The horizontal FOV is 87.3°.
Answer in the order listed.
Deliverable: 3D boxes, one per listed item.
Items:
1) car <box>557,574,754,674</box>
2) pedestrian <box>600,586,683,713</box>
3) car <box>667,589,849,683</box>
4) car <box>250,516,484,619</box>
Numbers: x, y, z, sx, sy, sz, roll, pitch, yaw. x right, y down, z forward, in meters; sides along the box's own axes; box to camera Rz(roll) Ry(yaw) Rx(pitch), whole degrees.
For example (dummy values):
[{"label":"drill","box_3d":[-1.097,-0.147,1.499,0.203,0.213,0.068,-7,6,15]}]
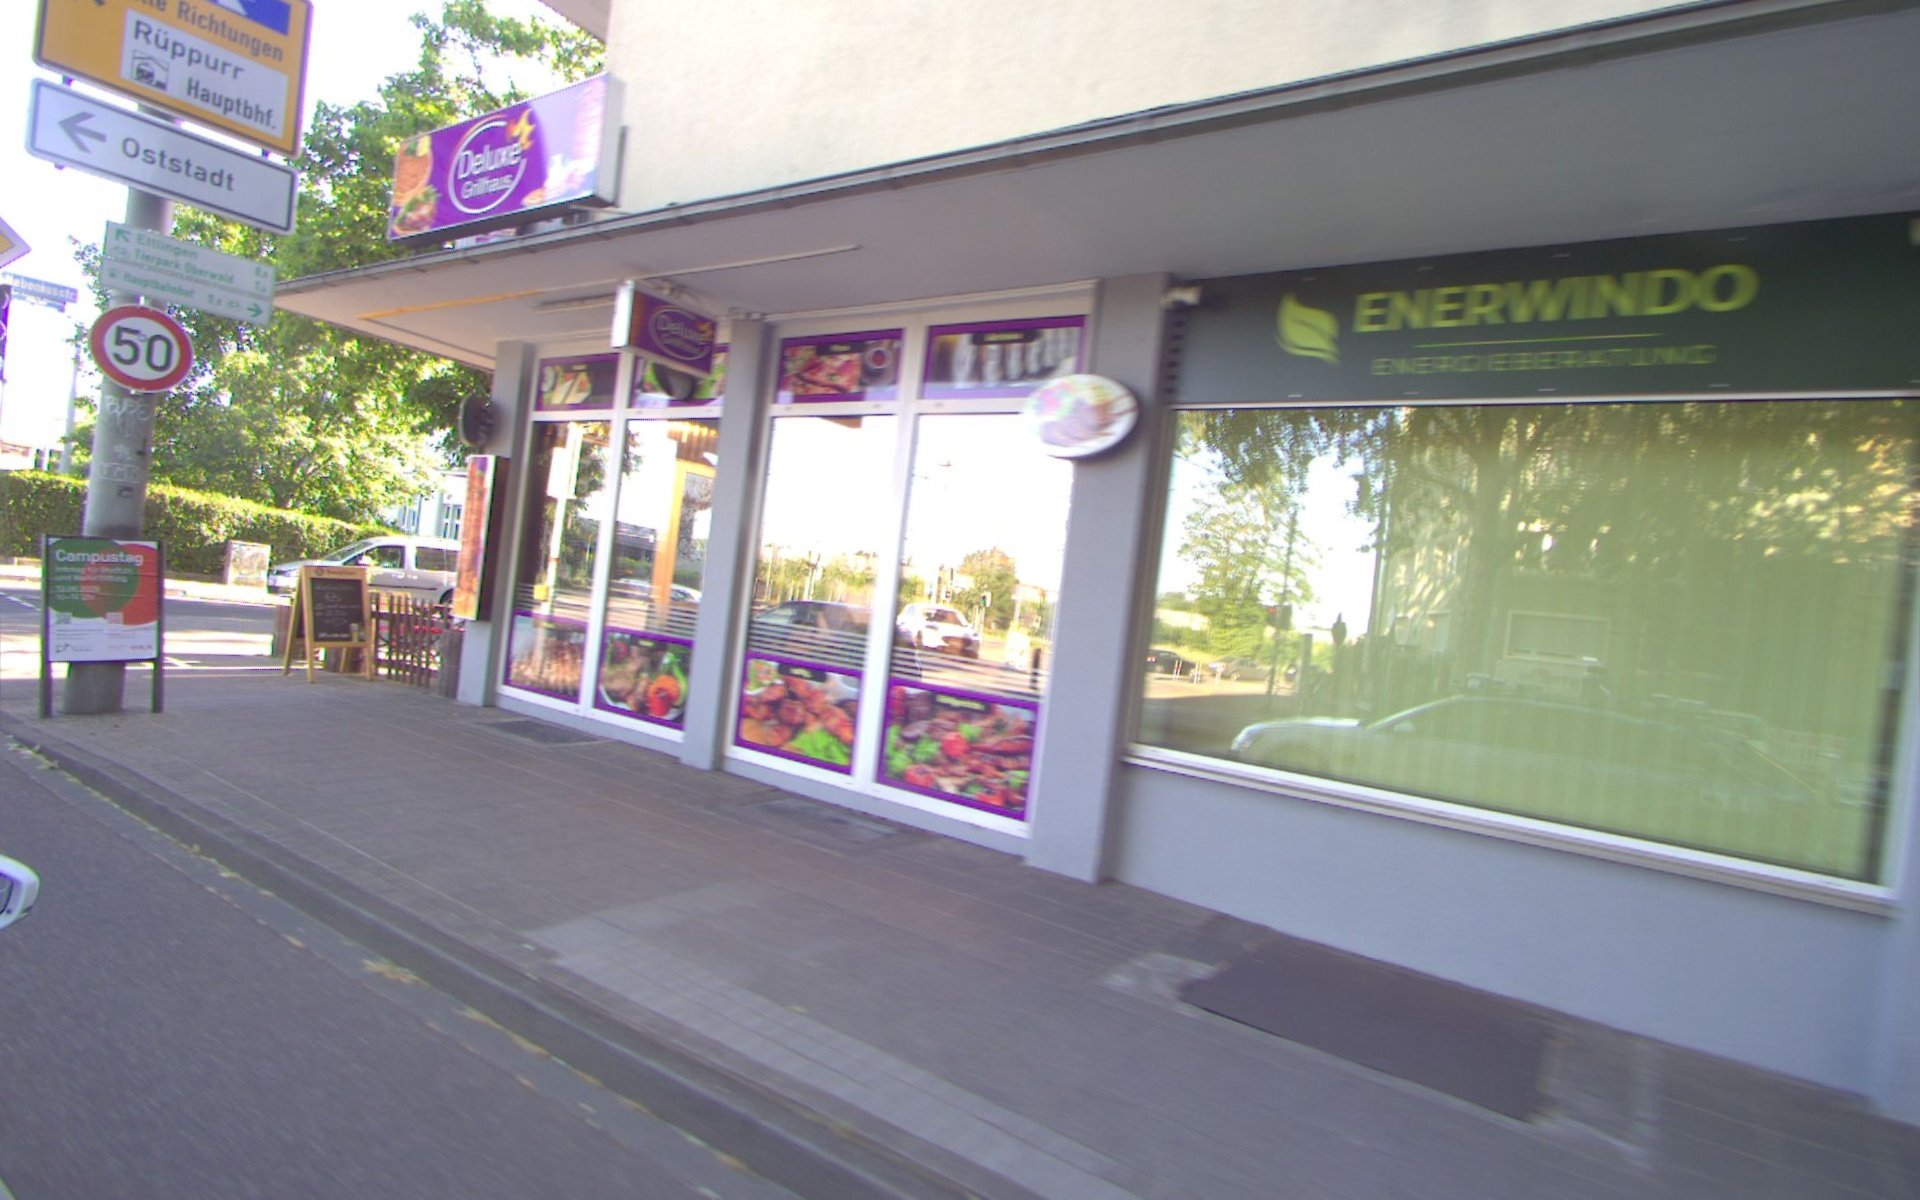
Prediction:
[{"label":"car","box_3d":[-6.512,0.489,21.413,3.969,1.600,1.707,7,-1,32]},{"label":"pedestrian","box_3d":[-3.600,0.562,11.372,0.598,1.358,0.492,7,0,36]},{"label":"car","box_3d":[-4.663,0.808,23.038,3.840,1.637,1.713,7,-1,33]},{"label":"car","box_3d":[-13.498,-0.668,23.129,1.780,1.834,4.175,3,-3,38]}]
